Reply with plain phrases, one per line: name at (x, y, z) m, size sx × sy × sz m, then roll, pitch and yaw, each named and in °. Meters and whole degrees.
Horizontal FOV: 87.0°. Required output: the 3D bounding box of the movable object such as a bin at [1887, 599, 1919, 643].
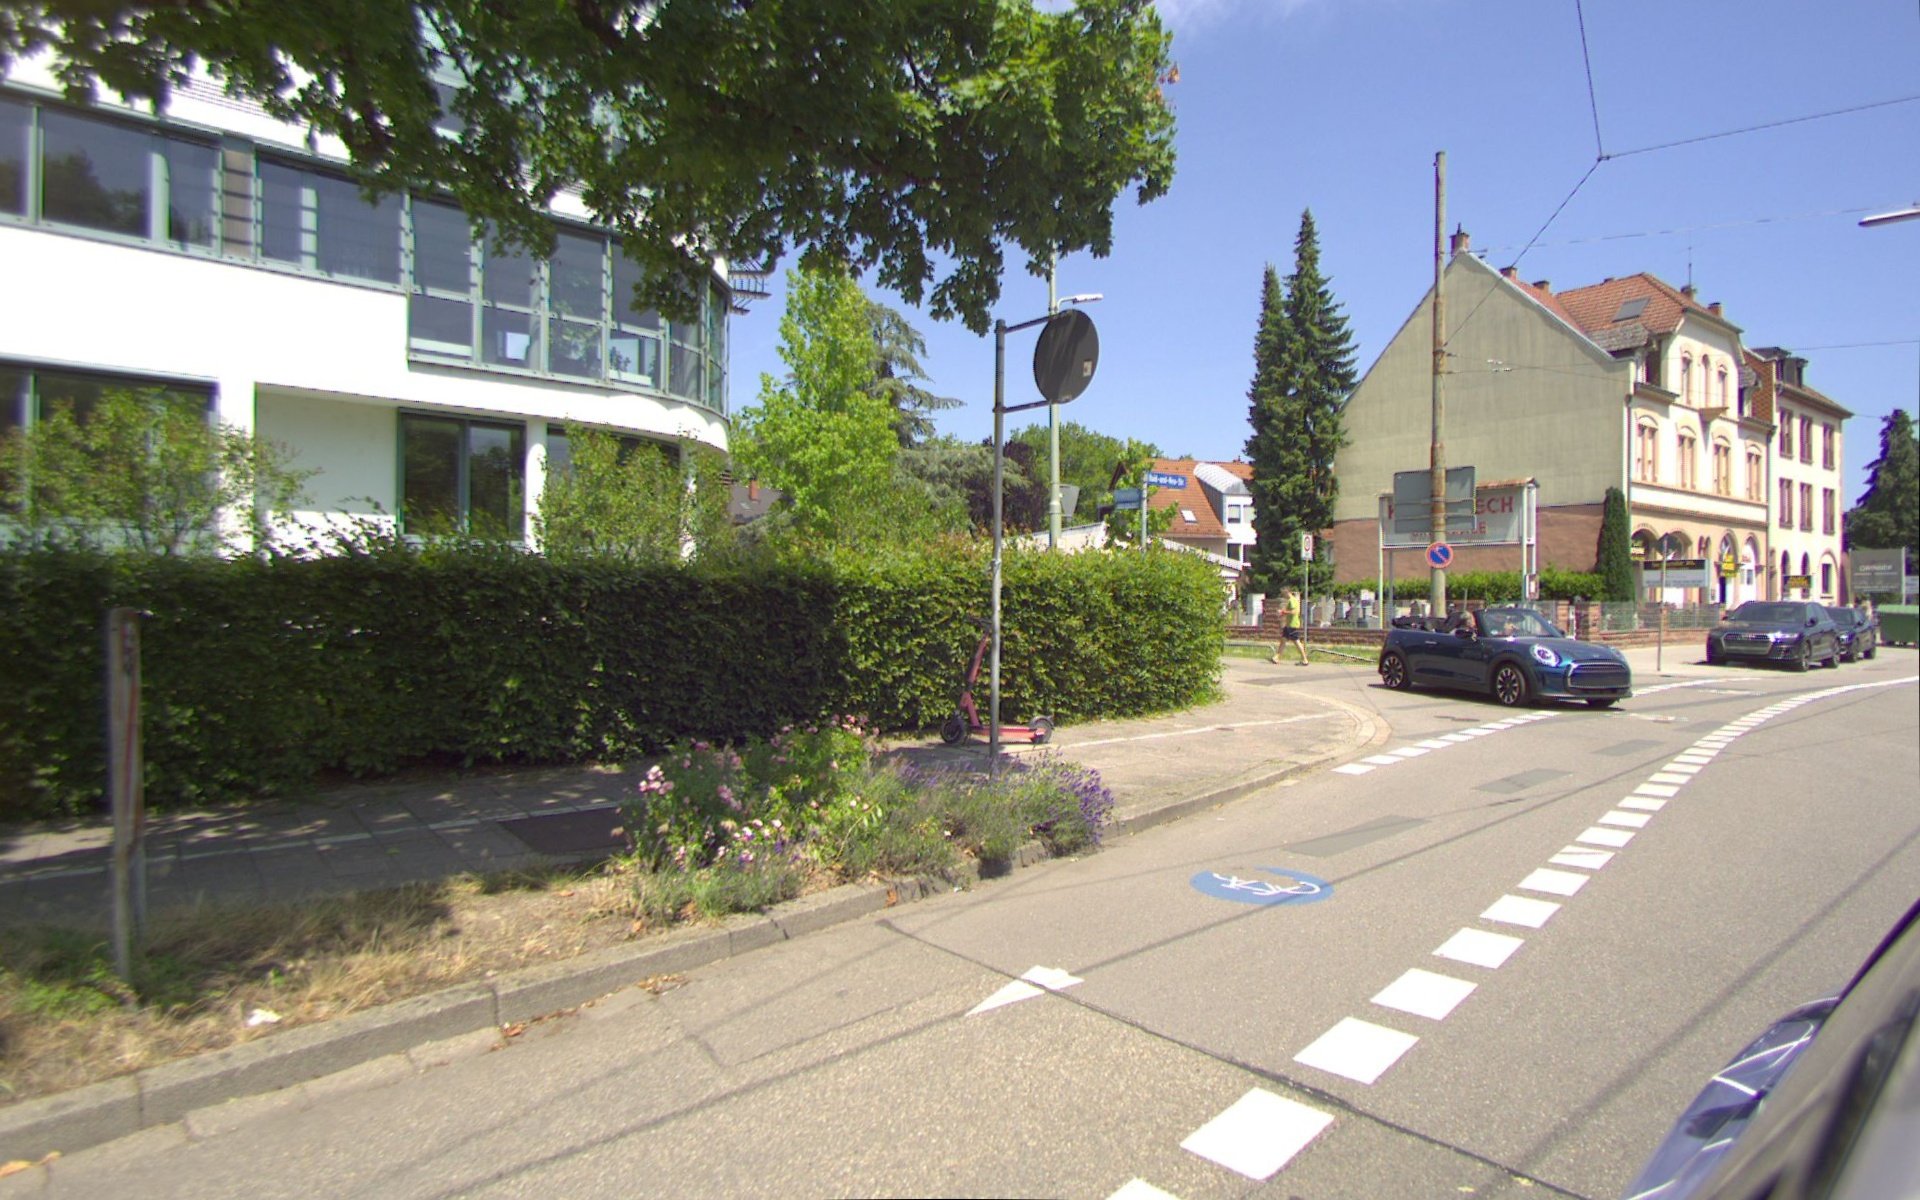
movable object such as a bin at (33.212, 0.741, 35.188) m, size 1.040 × 1.473 × 1.325 m, roll 0°, pitch 2°, yaw -42°

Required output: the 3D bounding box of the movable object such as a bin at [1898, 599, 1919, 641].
movable object such as a bin at (34.894, 0.725, 36.519) m, size 1.120 × 1.473 × 1.394 m, roll 0°, pitch 2°, yaw -42°

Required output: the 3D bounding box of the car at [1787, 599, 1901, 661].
car at (25.961, 0.818, 29.681) m, size 4.387 × 1.567 × 1.777 m, roll -1°, pitch 2°, yaw -39°

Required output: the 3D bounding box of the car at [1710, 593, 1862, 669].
car at (21.048, 0.709, 25.713) m, size 4.989 × 1.714 × 1.929 m, roll 0°, pitch 2°, yaw -38°

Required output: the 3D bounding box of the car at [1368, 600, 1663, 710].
car at (8.170, 0.721, 15.338) m, size 1.667 × 1.389 × 3.935 m, roll 0°, pitch 1°, yaw -15°

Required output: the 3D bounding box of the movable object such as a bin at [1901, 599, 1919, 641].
movable object such as a bin at (34.142, 0.709, 35.722) m, size 1.040 × 1.473 × 1.249 m, roll 0°, pitch 2°, yaw -42°

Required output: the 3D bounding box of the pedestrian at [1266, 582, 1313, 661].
pedestrian at (7.212, 0.467, 22.161) m, size 0.833 × 1.688 × 0.726 m, roll -1°, pitch -1°, yaw 31°

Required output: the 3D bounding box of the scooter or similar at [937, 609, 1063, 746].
scooter or similar at (0.379, 0.716, 9.591) m, size 1.127 × 1.238 × 0.327 m, roll 0°, pitch -2°, yaw -18°
